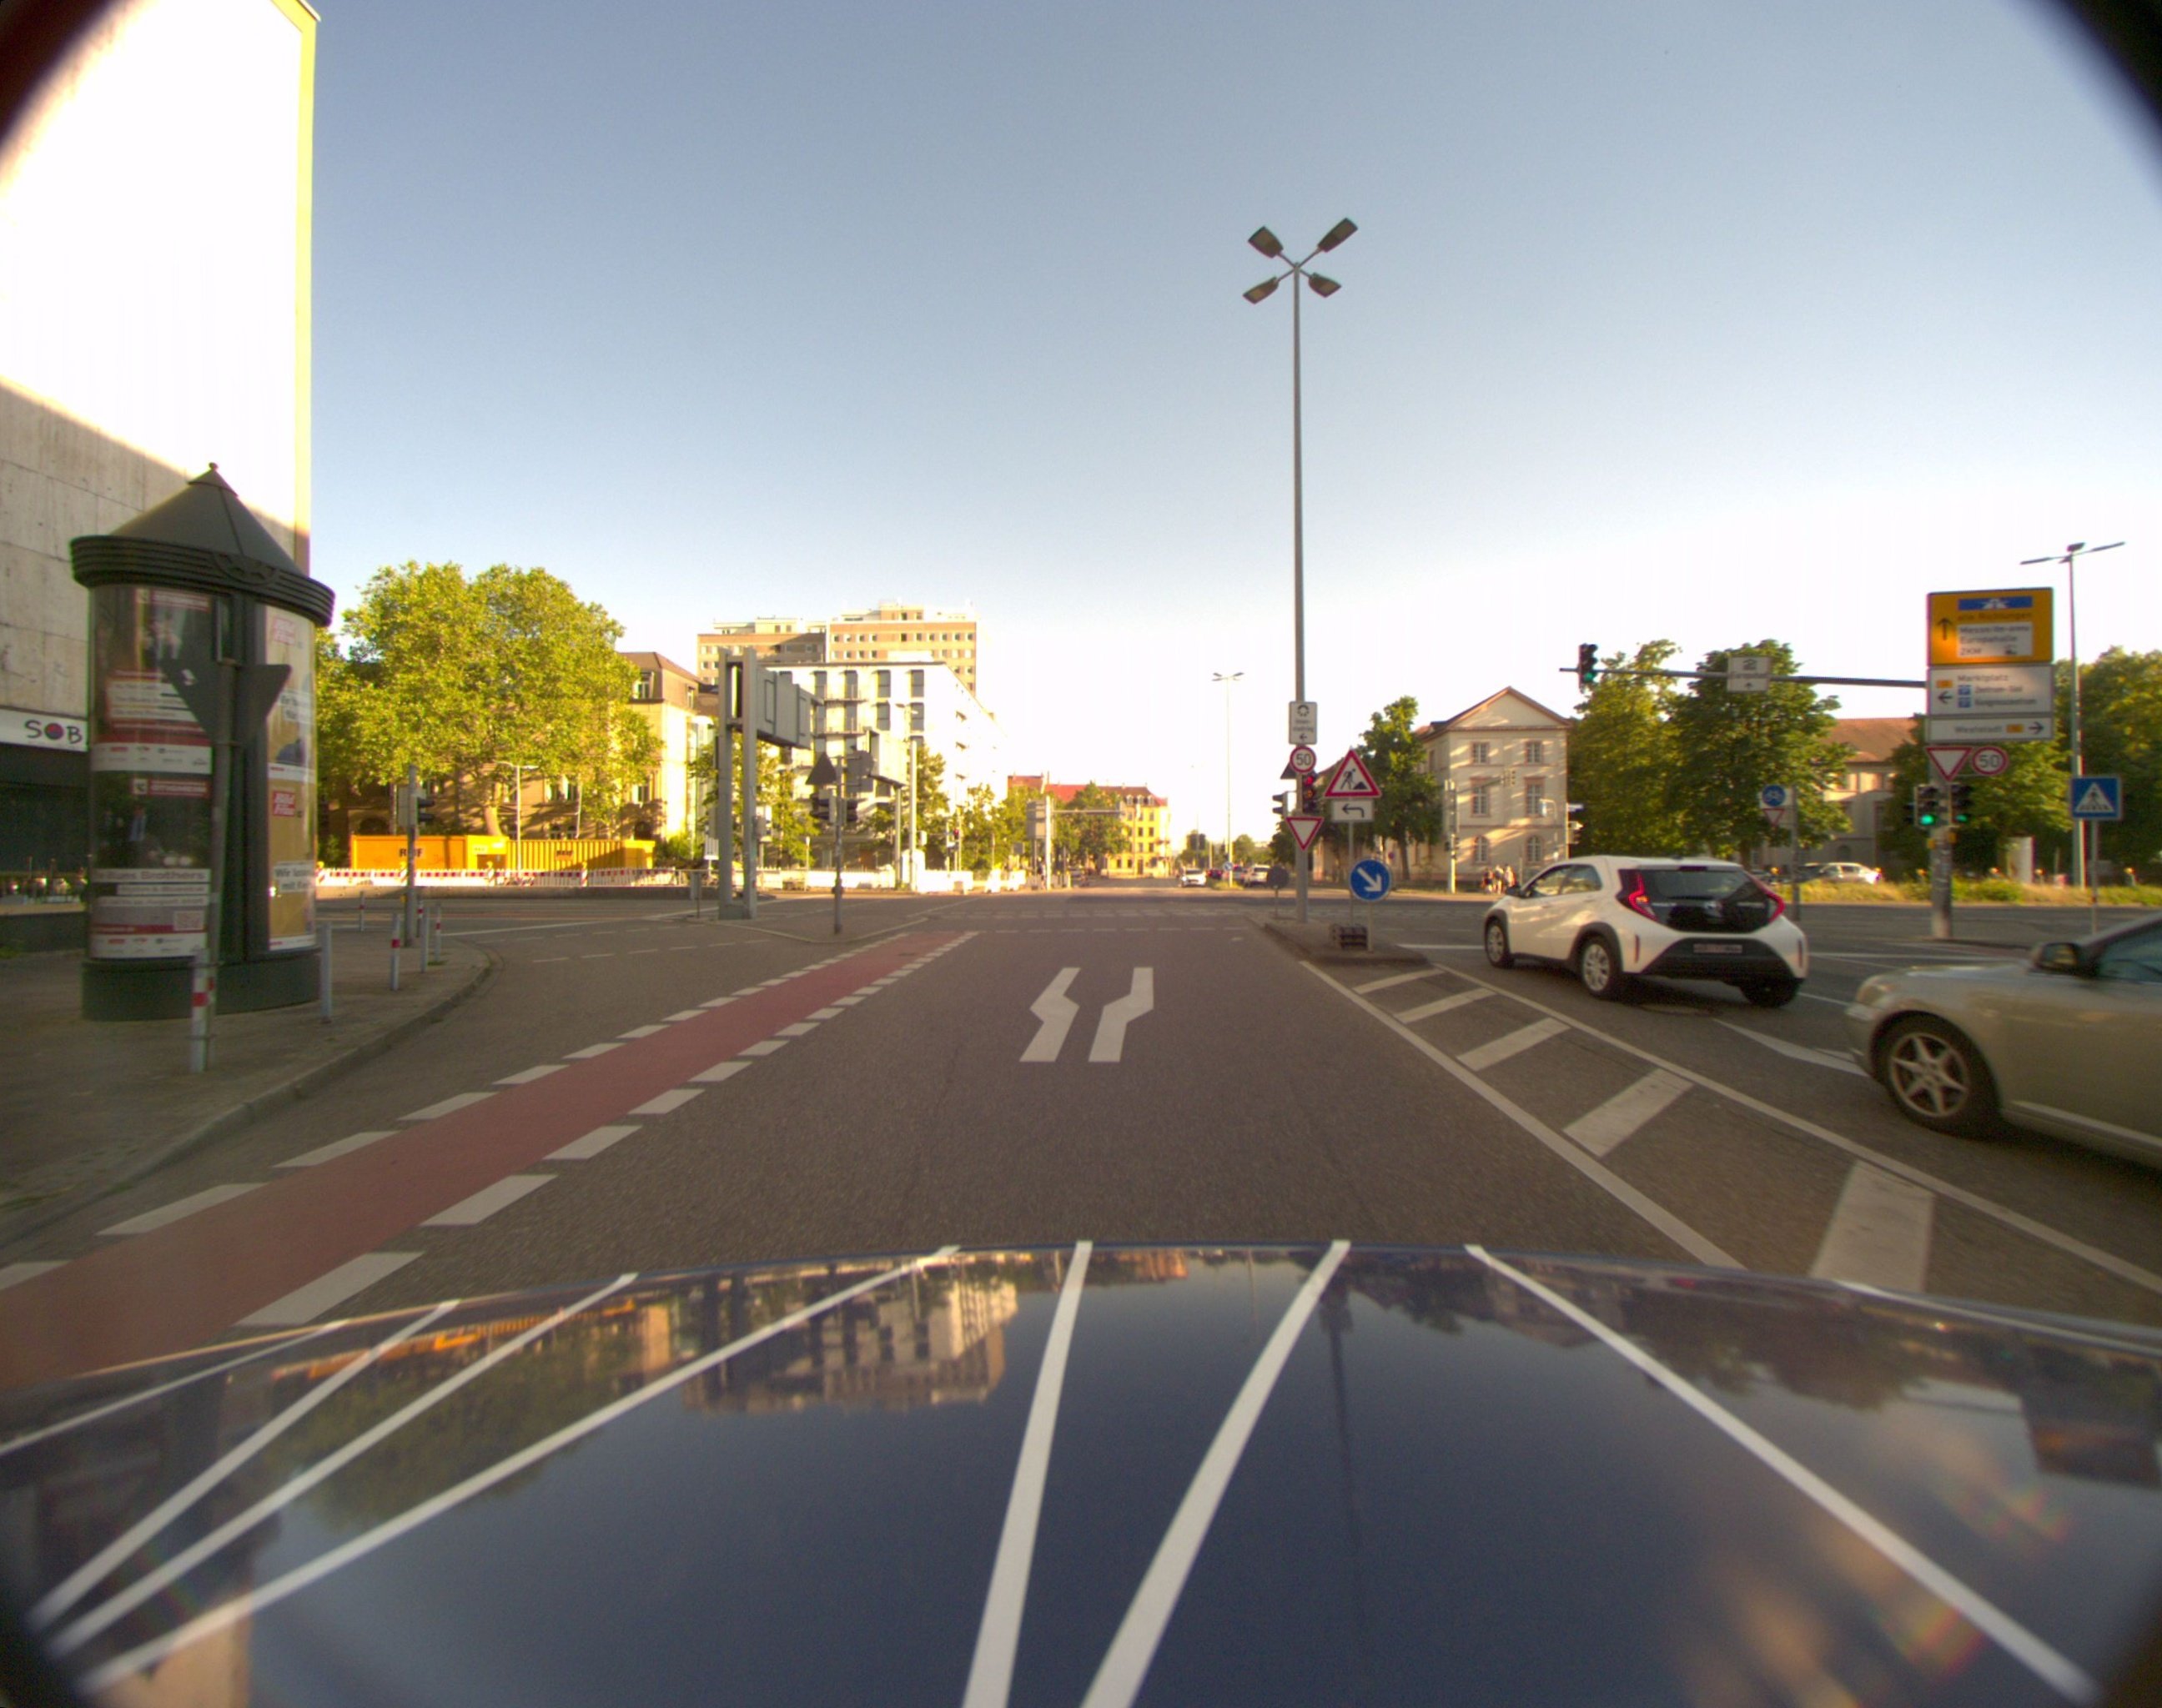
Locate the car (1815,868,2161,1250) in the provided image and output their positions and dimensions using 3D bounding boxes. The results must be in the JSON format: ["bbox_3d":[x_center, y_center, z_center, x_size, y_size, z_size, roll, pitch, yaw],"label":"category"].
[{"bbox_3d":[5.086,0.802,2.285,1.831,1.505,4.608,0,-1,9],"label":"car"}]

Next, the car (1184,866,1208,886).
[{"bbox_3d":[8.848,1.680,58.695,1.763,1.489,3.710,0,-1,6],"label":"car"}]

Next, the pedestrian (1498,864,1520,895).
[{"bbox_3d":[23.230,1.383,41.276,0.678,1.641,0.883,0,0,-2],"label":"pedestrian"}]

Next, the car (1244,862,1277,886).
[{"bbox_3d":[13.369,1.453,56.775,1.831,1.696,4.444,0,-1,6],"label":"car"}]

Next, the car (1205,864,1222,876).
[{"bbox_3d":[16.770,2.042,96.227,1.764,1.454,4.295,0,-1,5],"label":"car"}]

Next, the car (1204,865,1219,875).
[{"bbox_3d":[18.706,2.284,108.933,1.764,1.454,4.295,0,-1,5],"label":"car"}]

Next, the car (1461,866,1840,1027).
[{"bbox_3d":[6.190,0.872,8.934,1.831,1.452,3.904,0,-1,6],"label":"car"}]

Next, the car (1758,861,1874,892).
[{"bbox_3d":[35.573,1.085,36.873,3.643,1.437,2.001,0,-1,2],"label":"car"}]

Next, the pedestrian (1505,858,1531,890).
[{"bbox_3d":[25.394,1.133,44.205,0.820,1.838,1.170,0,0,-2],"label":"pedestrian"}]

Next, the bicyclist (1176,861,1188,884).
[{"bbox_3d":[7.194,1.318,54.197,0.838,1.594,1.024,0,0,5],"label":"bicyclist"}]

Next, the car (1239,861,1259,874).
[{"bbox_3d":[19.753,1.560,89.456,1.764,1.454,4.295,0,-1,5],"label":"car"}]

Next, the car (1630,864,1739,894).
[{"bbox_3d":[29.097,1.197,36.706,3.643,1.437,2.001,0,-1,2],"label":"car"}]

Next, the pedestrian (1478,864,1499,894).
[{"bbox_3d":[22.049,1.344,41.095,0.621,1.641,0.890,0,0,-2],"label":"pedestrian"}]

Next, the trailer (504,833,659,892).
[{"bbox_3d":[-25.112,0.436,38.394,6.125,2.850,2.542,0,-1,1],"label":"trailer"}]

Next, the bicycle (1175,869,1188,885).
[{"bbox_3d":[7.176,1.658,54.223,0.833,1.101,2.082,0,-1,5],"label":"bicycle"}]

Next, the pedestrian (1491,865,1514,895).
[{"bbox_3d":[24.422,1.493,44.039,0.678,1.698,1.084,0,0,-2],"label":"pedestrian"}]

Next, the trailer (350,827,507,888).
[{"bbox_3d":[-33.079,0.211,38.618,6.123,2.997,2.408,0,0,4],"label":"trailer"}]

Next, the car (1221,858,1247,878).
[{"bbox_3d":[14.920,1.380,74.240,1.831,1.836,4.949,0,-1,4],"label":"car"}]

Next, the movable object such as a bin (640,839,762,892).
[{"bbox_3d":[-19.025,0.592,38.189,5.209,2.578,2.001,0,0,5],"label":"movable object such as a bin"}]

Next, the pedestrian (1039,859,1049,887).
[{"bbox_3d":[-2.463,1.244,50.545,0.500,1.866,0.601,0,0,-23],"label":"pedestrian"}]
